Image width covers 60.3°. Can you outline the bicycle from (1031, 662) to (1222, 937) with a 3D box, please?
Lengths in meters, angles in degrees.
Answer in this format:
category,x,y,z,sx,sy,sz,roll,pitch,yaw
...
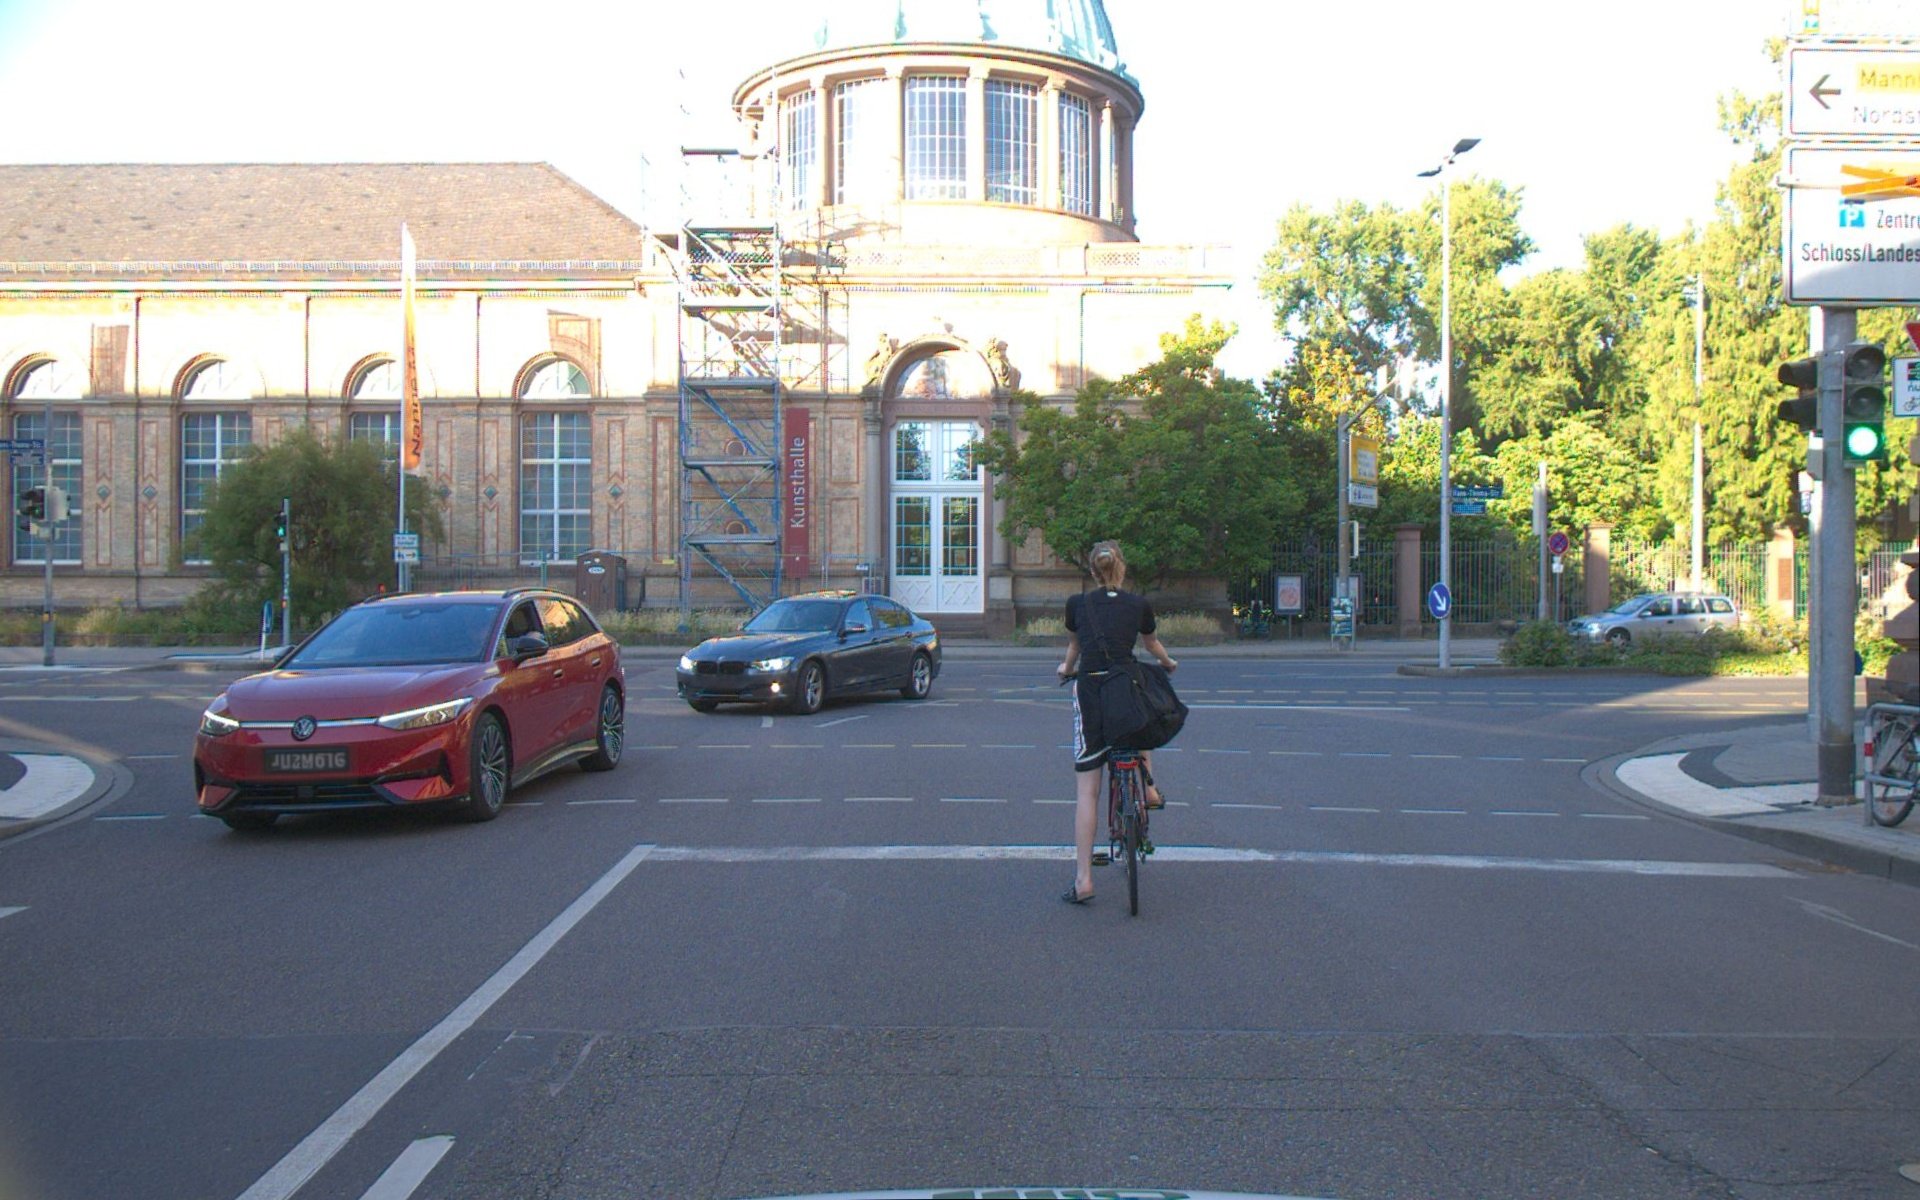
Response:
category,x,y,z,sx,sy,sz,roll,pitch,yaw
bicycle,0.895,0.917,8.370,0.696,1.176,2.070,-1,-1,13

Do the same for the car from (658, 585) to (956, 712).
category,x,y,z,sx,sy,sz,roll,pitch,yaw
car,-1.869,0.560,21.722,1.748,1.484,4.417,-1,0,28

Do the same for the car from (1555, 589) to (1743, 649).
category,x,y,z,sx,sy,sz,roll,pitch,yaw
car,17.385,0.454,41.827,4.104,1.470,1.713,0,0,-6

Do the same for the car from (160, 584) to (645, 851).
category,x,y,z,sx,sy,sz,roll,pitch,yaw
car,-3.887,0.702,12.565,1.792,1.572,4.850,-1,1,3

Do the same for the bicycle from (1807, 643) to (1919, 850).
category,x,y,z,sx,sy,sz,roll,pitch,yaw
bicycle,5.926,0.871,10.023,0.570,1.209,1.920,0,-1,-1

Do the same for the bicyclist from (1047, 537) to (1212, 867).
category,x,y,z,sx,sy,sz,roll,pitch,yaw
bicyclist,0.852,0.484,8.178,0.701,1.529,0.851,-1,-1,13
